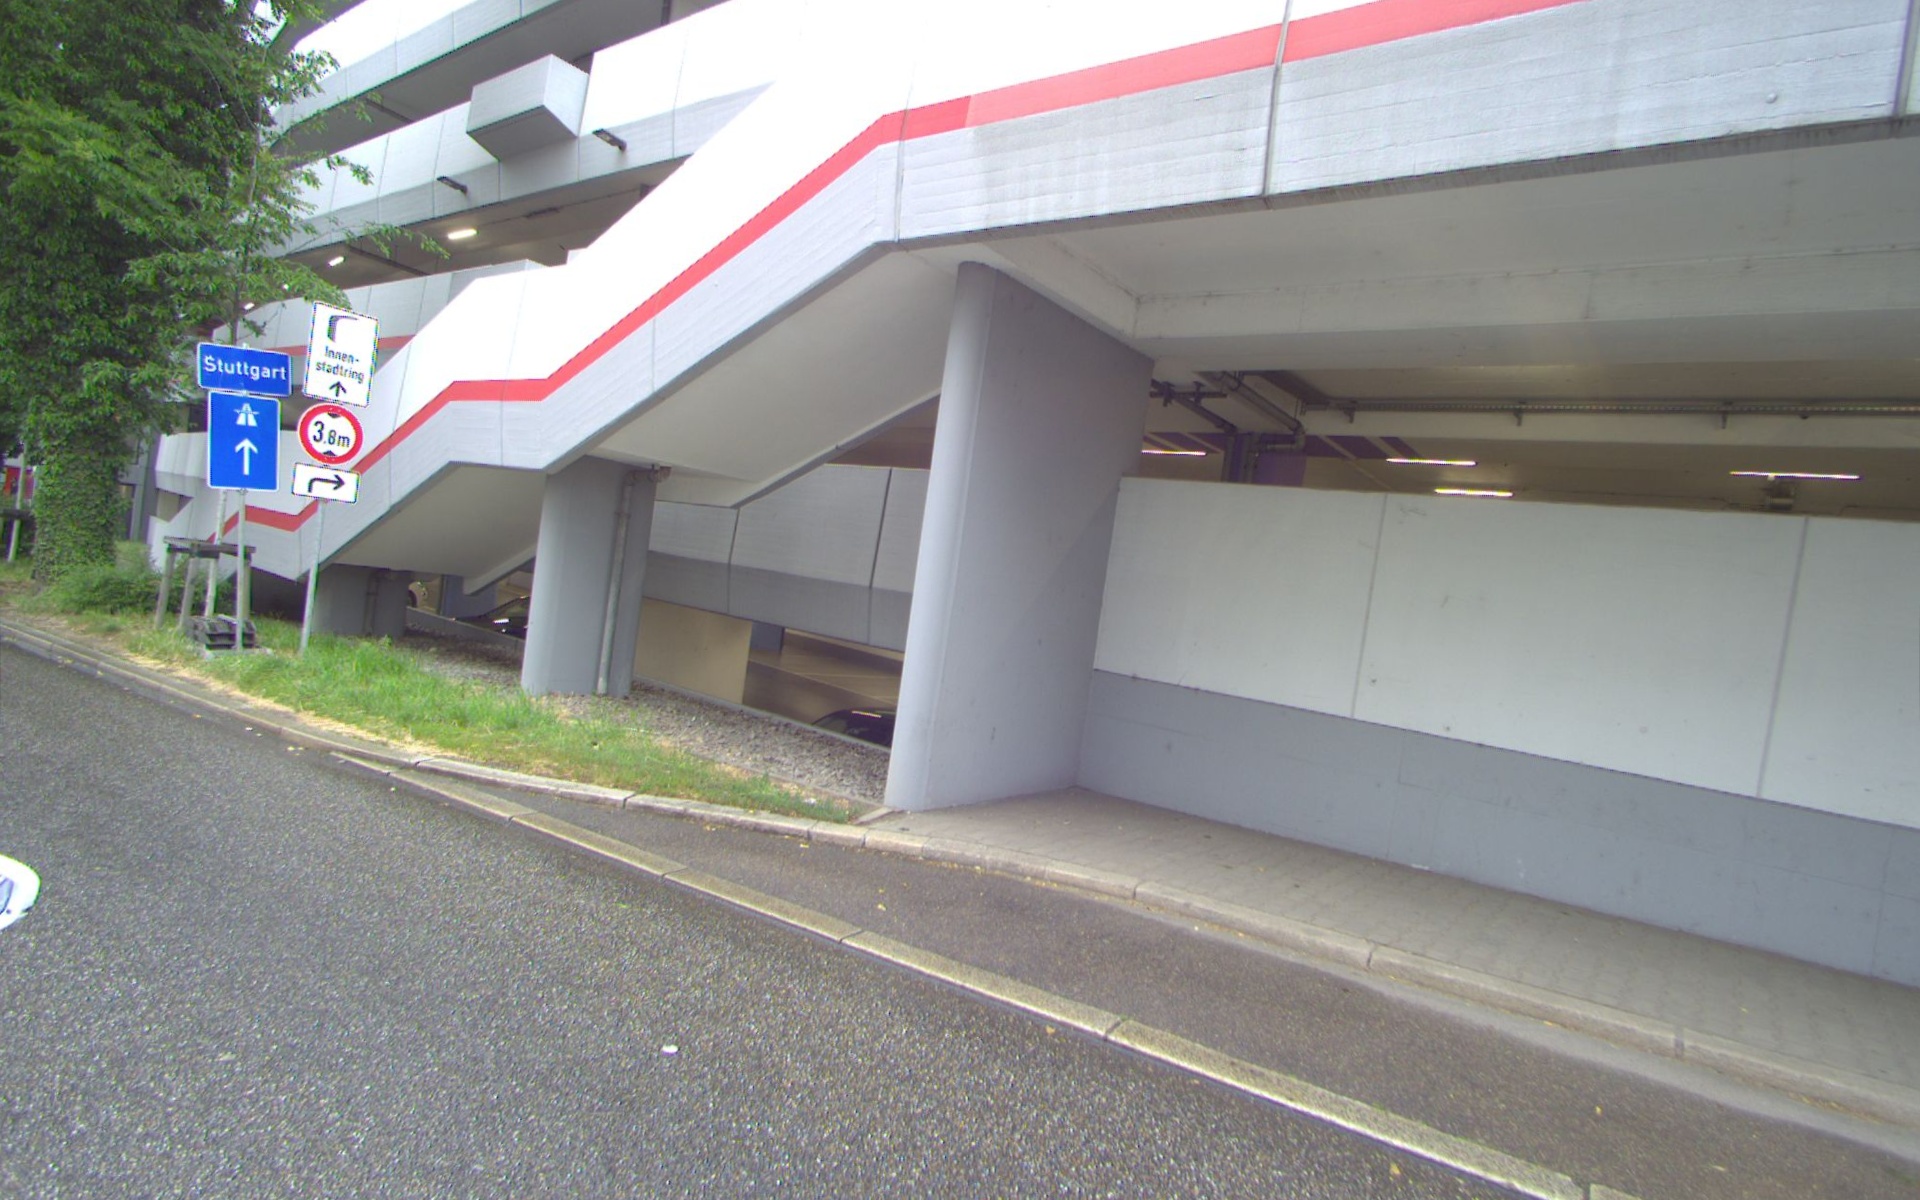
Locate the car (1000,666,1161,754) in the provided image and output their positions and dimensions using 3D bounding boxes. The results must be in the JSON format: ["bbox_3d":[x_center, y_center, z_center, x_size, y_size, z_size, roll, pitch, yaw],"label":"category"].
[{"bbox_3d":[2.922,2.570,23.653,1.810,1.559,3.988,11,2,37],"label":"car"}]

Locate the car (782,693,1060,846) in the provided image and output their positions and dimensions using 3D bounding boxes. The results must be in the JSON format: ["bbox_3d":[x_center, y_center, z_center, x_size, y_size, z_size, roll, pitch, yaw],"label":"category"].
[{"bbox_3d":[-0.438,2.360,14.712,1.810,1.559,3.931,11,2,37],"label":"car"}]

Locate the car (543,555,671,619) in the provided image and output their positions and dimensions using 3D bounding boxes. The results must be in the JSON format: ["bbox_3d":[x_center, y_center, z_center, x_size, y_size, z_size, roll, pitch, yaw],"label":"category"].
[{"bbox_3d":[-13.014,-0.456,37.256,1.792,1.804,3.979,7,0,44],"label":"car"}]

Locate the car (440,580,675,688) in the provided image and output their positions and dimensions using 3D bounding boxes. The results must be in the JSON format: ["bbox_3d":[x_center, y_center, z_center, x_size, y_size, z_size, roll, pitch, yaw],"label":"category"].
[{"bbox_3d":[-7.744,0.713,19.641,1.782,1.559,3.734,11,2,37],"label":"car"}]

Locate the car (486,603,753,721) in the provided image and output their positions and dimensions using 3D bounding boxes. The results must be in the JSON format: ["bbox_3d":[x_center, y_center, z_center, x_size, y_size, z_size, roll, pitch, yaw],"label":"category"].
[{"bbox_3d":[-5.826,1.137,17.613,1.810,1.643,3.988,7,-1,36],"label":"car"}]
